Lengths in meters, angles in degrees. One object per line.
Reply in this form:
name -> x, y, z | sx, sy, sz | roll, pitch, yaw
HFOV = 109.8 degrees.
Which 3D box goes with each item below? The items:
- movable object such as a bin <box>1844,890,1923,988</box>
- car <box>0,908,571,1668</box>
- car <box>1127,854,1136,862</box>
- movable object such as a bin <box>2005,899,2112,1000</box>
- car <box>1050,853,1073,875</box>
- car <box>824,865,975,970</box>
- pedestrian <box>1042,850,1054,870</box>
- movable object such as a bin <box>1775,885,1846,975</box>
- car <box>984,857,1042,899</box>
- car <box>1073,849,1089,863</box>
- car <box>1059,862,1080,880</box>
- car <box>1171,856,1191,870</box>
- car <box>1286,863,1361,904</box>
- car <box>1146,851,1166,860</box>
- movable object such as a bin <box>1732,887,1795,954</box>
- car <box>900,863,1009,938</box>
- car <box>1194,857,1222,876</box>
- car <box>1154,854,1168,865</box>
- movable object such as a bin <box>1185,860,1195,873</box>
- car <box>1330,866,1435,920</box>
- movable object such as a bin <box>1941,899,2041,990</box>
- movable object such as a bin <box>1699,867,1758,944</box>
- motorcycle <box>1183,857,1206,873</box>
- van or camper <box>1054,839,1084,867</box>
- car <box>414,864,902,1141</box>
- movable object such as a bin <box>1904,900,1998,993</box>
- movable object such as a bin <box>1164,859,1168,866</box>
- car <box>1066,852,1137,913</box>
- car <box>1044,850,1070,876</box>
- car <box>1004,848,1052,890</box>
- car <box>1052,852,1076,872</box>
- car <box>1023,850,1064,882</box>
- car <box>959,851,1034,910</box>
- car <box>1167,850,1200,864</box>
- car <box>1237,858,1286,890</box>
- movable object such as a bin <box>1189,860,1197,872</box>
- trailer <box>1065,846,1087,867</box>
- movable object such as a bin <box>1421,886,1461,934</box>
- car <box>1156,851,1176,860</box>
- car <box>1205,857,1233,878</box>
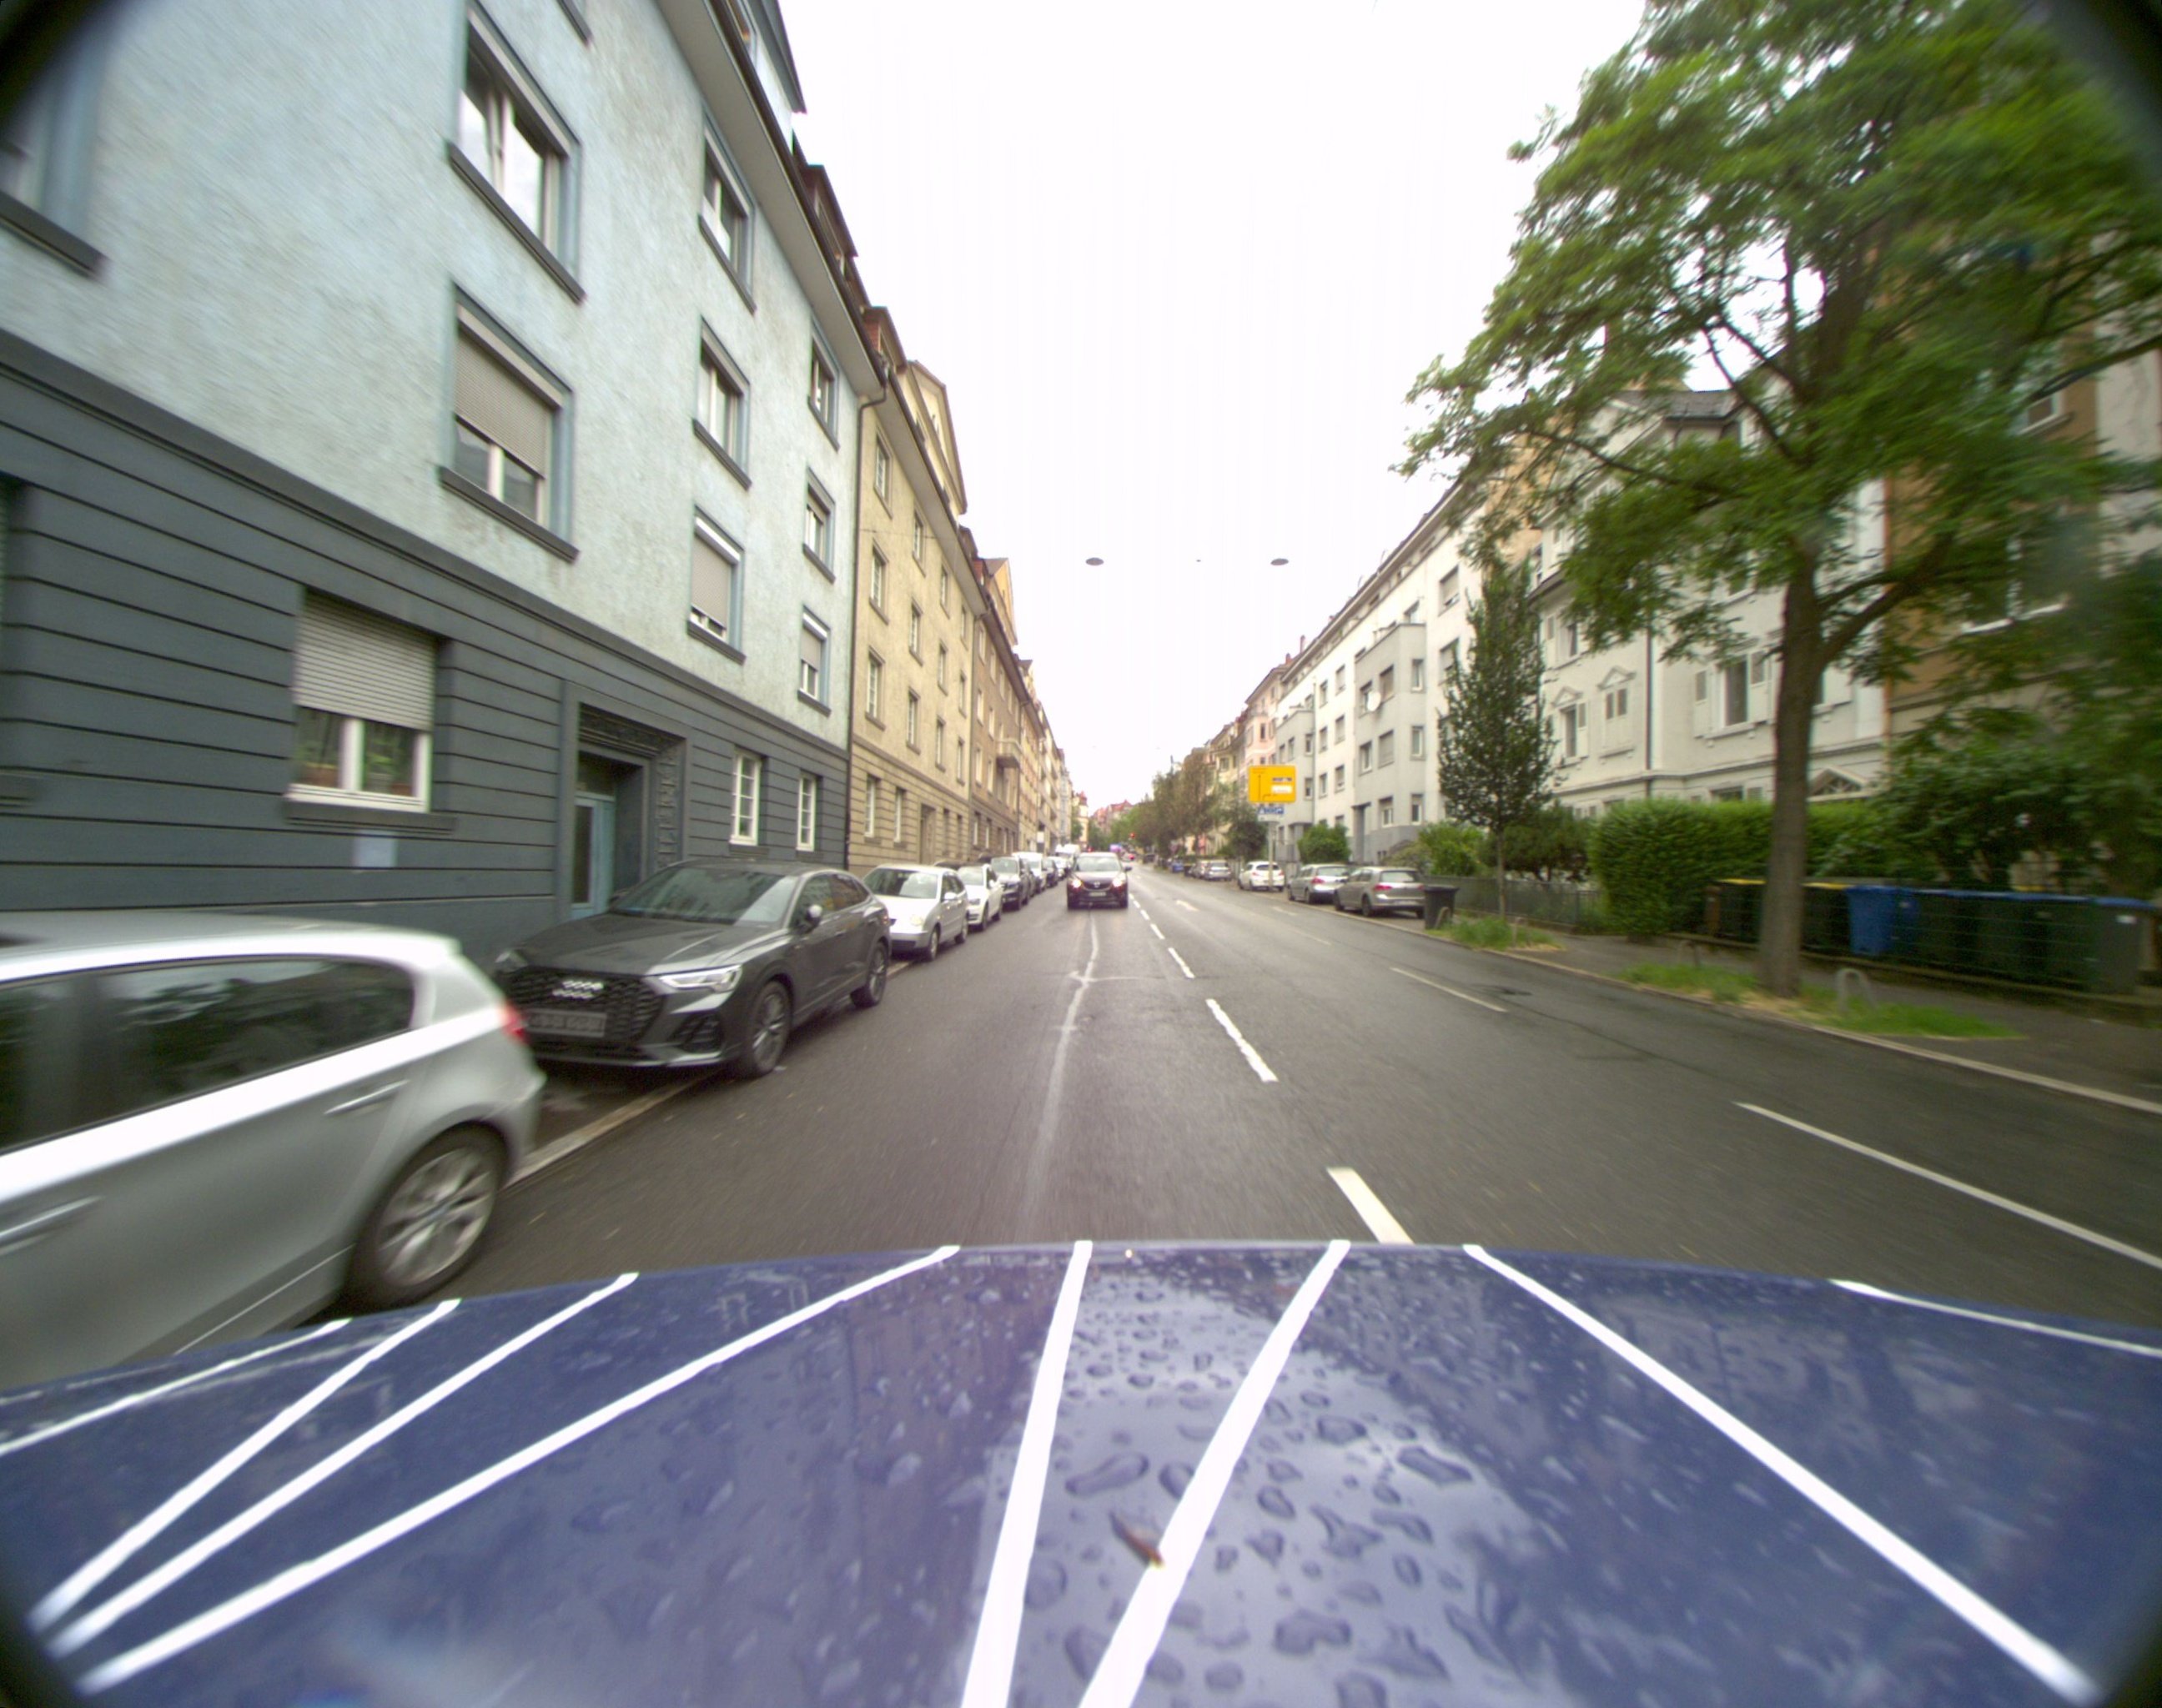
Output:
movable object such as a bin -> 11.250, 1.170, 10.668 | 0.440, 1.301, 0.609 | 1, 1, 1
car -> -3.145, 1.028, 1.331 | 1.573, 1.455, 4.089 | 4, 1, 2
car -> 11.171, 0.908, 168.859 | 1.771, 1.540, 3.652 | -1, 1, 1
movable object such as a bin -> 11.163, 1.076, 8.693 | 0.440, 1.075, 0.590 | 1, 1, 1
car -> -1.476, 0.741, 58.244 | 1.636, 1.470, 3.734 | 4, 1, 0
car -> -2.925, 0.961, 13.005 | 1.587, 1.421, 3.595 | 3, 0, 1
pedestrian -> -2.844, 0.520, 66.123 | 0.688, 1.777, 0.711 | 1, 2, -32
movable object such as a bin -> 11.179, 1.150, 11.662 | 0.440, 1.301, 0.650 | 1, 1, 1
car -> -2.615, 0.888, 30.205 | 1.845, 1.401, 4.387 | 3, 0, 0
car -> 0.019, 0.285, 108.362 | 1.994, 1.944, 4.822 | 2, 1, 1
car -> -1.075, 1.499, 68.992 | 1.782, 1.471, 4.188 | 1, 1, -1
car -> 10.564, 0.935, 80.637 | 1.683, 1.378, 4.602 | 1, 1, 2
car -> 9.006, 1.059, 28.547 | 1.686, 1.382, 3.909 | 0, 0, 2
car -> 15.611, 0.295, 158.947 | 3.929, 1.836, 1.867 | -2, 1, -1
movable object such as a bin -> 11.179, 1.075, 12.463 | 0.440, 1.033, 0.650 | 1, 1, 1
car -> -2.837, 0.988, 17.863 | 1.733, 1.421, 3.974 | 3, 0, 1
car -> 9.921, 0.953, 59.541 | 1.604, 1.388, 3.887 | 0, 1, 1
car -> 11.458, 0.772, 109.220 | 1.685, 1.409, 4.138 | 2, 1, 2
movable object such as a bin -> 9.641, 1.088, 67.270 | 0.826, 1.052, 0.483 | -2, 2, 3
car -> 8.897, 1.104, 22.756 | 1.686, 1.382, 3.936 | 0, 0, 2
movable object such as a bin -> 11.160, 1.090, 9.334 | 0.427, 1.035, 0.650 | 1, 1, 1
movable object such as a bin -> 11.231, 0.884, 13.194 | 0.440, 1.292, 0.650 | 1, 1, 1
motorcycle -> 9.596, 0.936, 64.481 | 1.806, 1.307, 0.743 | 1, 1, 43
van or camper -> -1.157, -0.083, 76.492 | 2.189, 2.684, 6.422 | 1, 0, 6
car -> -3.111, 0.938, 6.806 | 1.822, 1.549, 4.293 | 2, 0, 2
movable object such as a bin -> 11.200, 1.175, 9.797 | 0.440, 1.124, 0.657 | 1, 0, 1
movable object such as a bin -> 10.443, 1.073, 93.403 | 0.365, 0.884, 0.572 | -1, 1, 1
car -> 0.565, 0.780, 23.082 | 1.889, 1.543, 3.999 | -2, 1, 0
car -> -1.670, 0.580, 53.374 | 1.636, 1.629, 4.194 | 3, 1, 0
car -> -2.388, 0.657, 35.303 | 1.795, 1.807, 4.080 | 2, 0, 1
car -> -1.377, 0.637, 63.326 | 1.782, 1.471, 4.587 | 1, 1, 1
car -> -1.967, 0.613, 41.242 | 1.795, 1.539, 4.226 | 2, 0, 2
car -> -2.598, 0.772, 24.261 | 1.845, 1.611, 4.207 | 2, 1, 0
car -> 15.519, 0.452, 115.298 | 4.731, 1.894, 1.918 | -1, 1, 0
car -> 9.193, 0.980, 38.986 | 1.650, 1.499, 3.796 | 0, 0, 0
movable object such as a bin -> 9.727, 1.022, 65.982 | 0.526, 1.052, 0.482 | -3, 2, -20
trailer -> -0.497, 0.257, 83.850 | 1.998, 2.139, 5.074 | 3, 0, 4
movable object such as a bin -> 8.431, 1.303, 17.814 | 0.631, 1.052, 0.600 | 1, 2, 2
car -> 17.189, 0.291, 153.275 | 3.928, 1.613, 1.592 | 1, 1, 2
car -> 9.920, 0.958, 54.796 | 1.604, 1.442, 3.889 | -1, 0, 5
